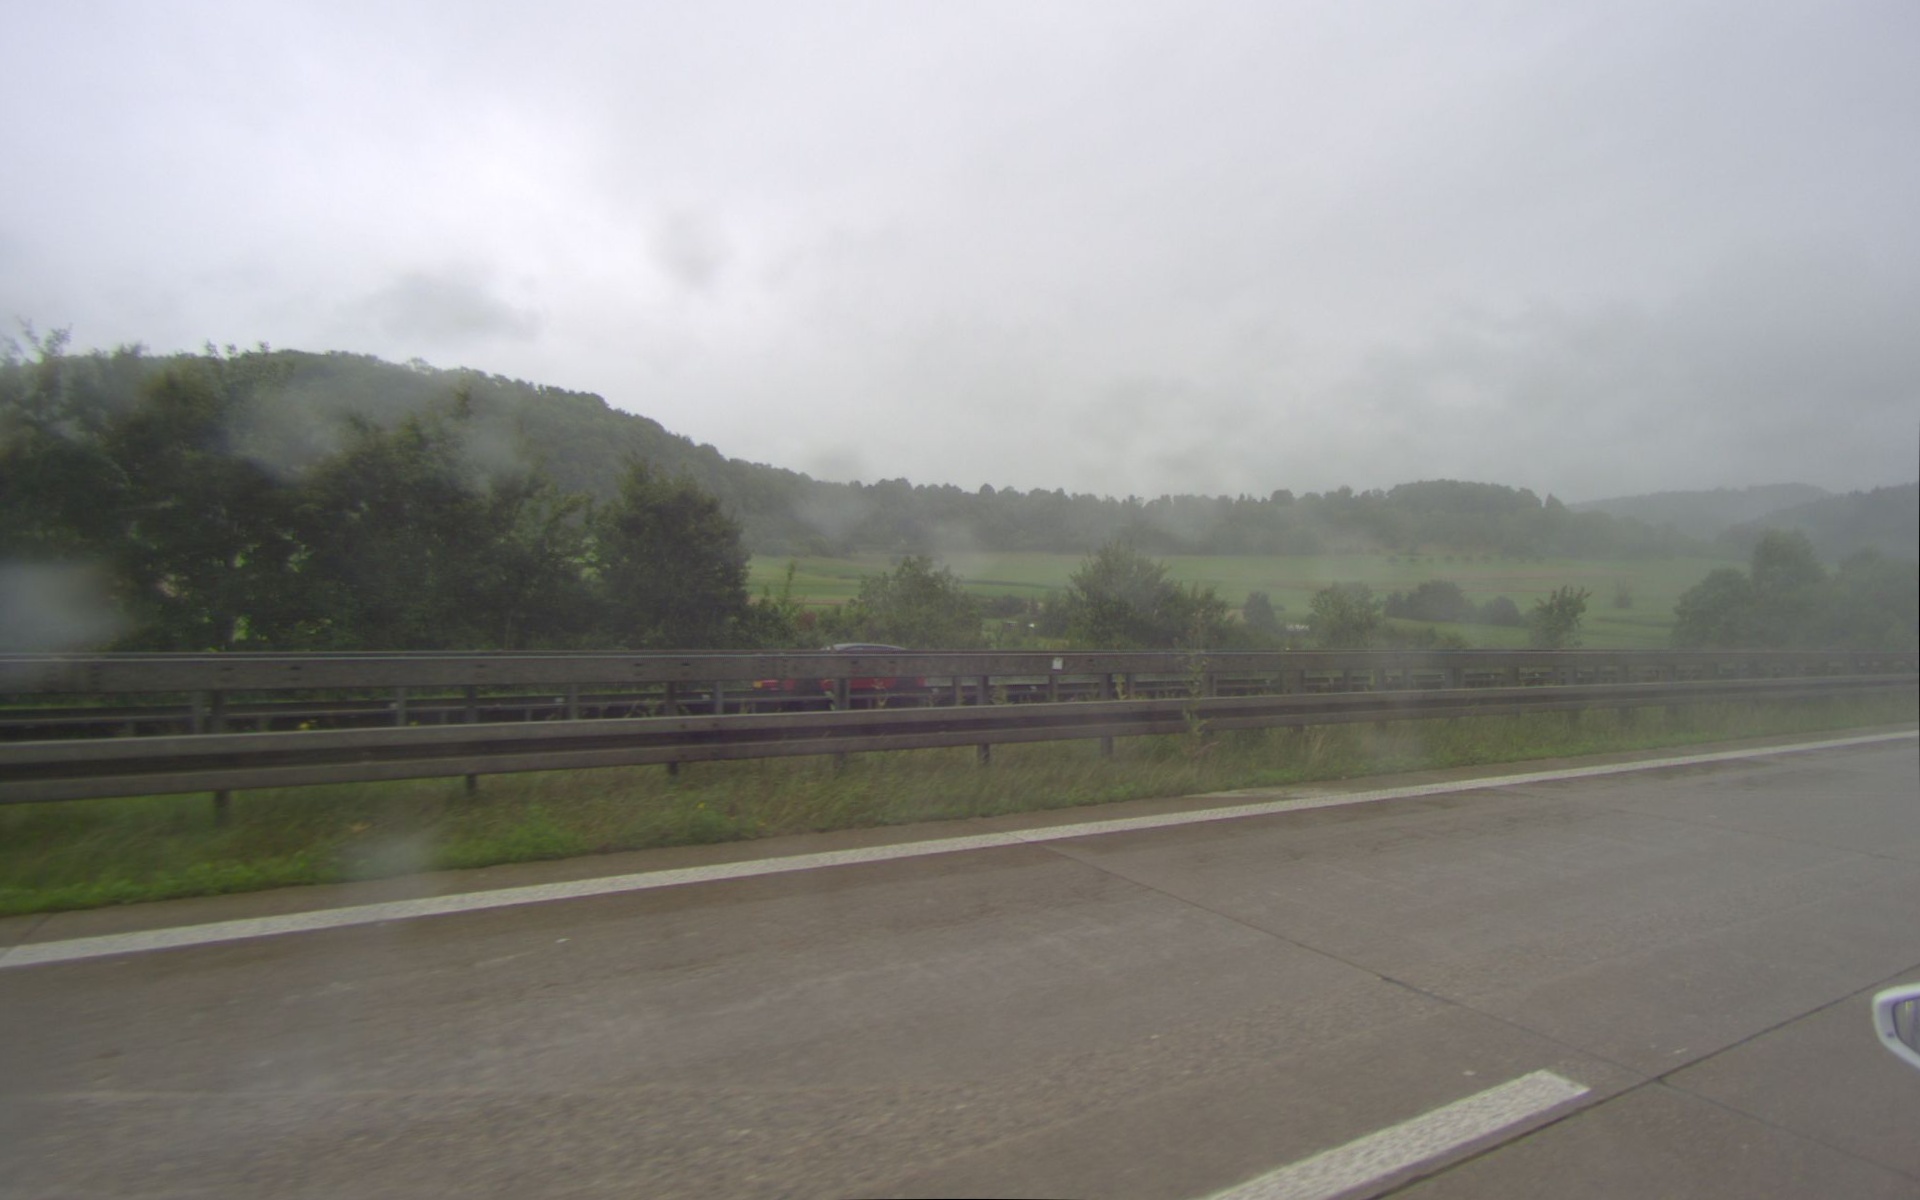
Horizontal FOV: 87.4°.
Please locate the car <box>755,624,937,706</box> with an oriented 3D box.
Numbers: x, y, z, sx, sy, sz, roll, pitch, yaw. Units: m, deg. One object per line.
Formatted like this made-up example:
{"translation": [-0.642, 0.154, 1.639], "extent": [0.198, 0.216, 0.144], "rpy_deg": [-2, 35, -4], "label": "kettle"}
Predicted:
{"translation": [-2.789, 1.560, 24.684], "extent": [3.953, 1.806, 1.984], "rpy_deg": [2, 0, -30], "label": "car"}
